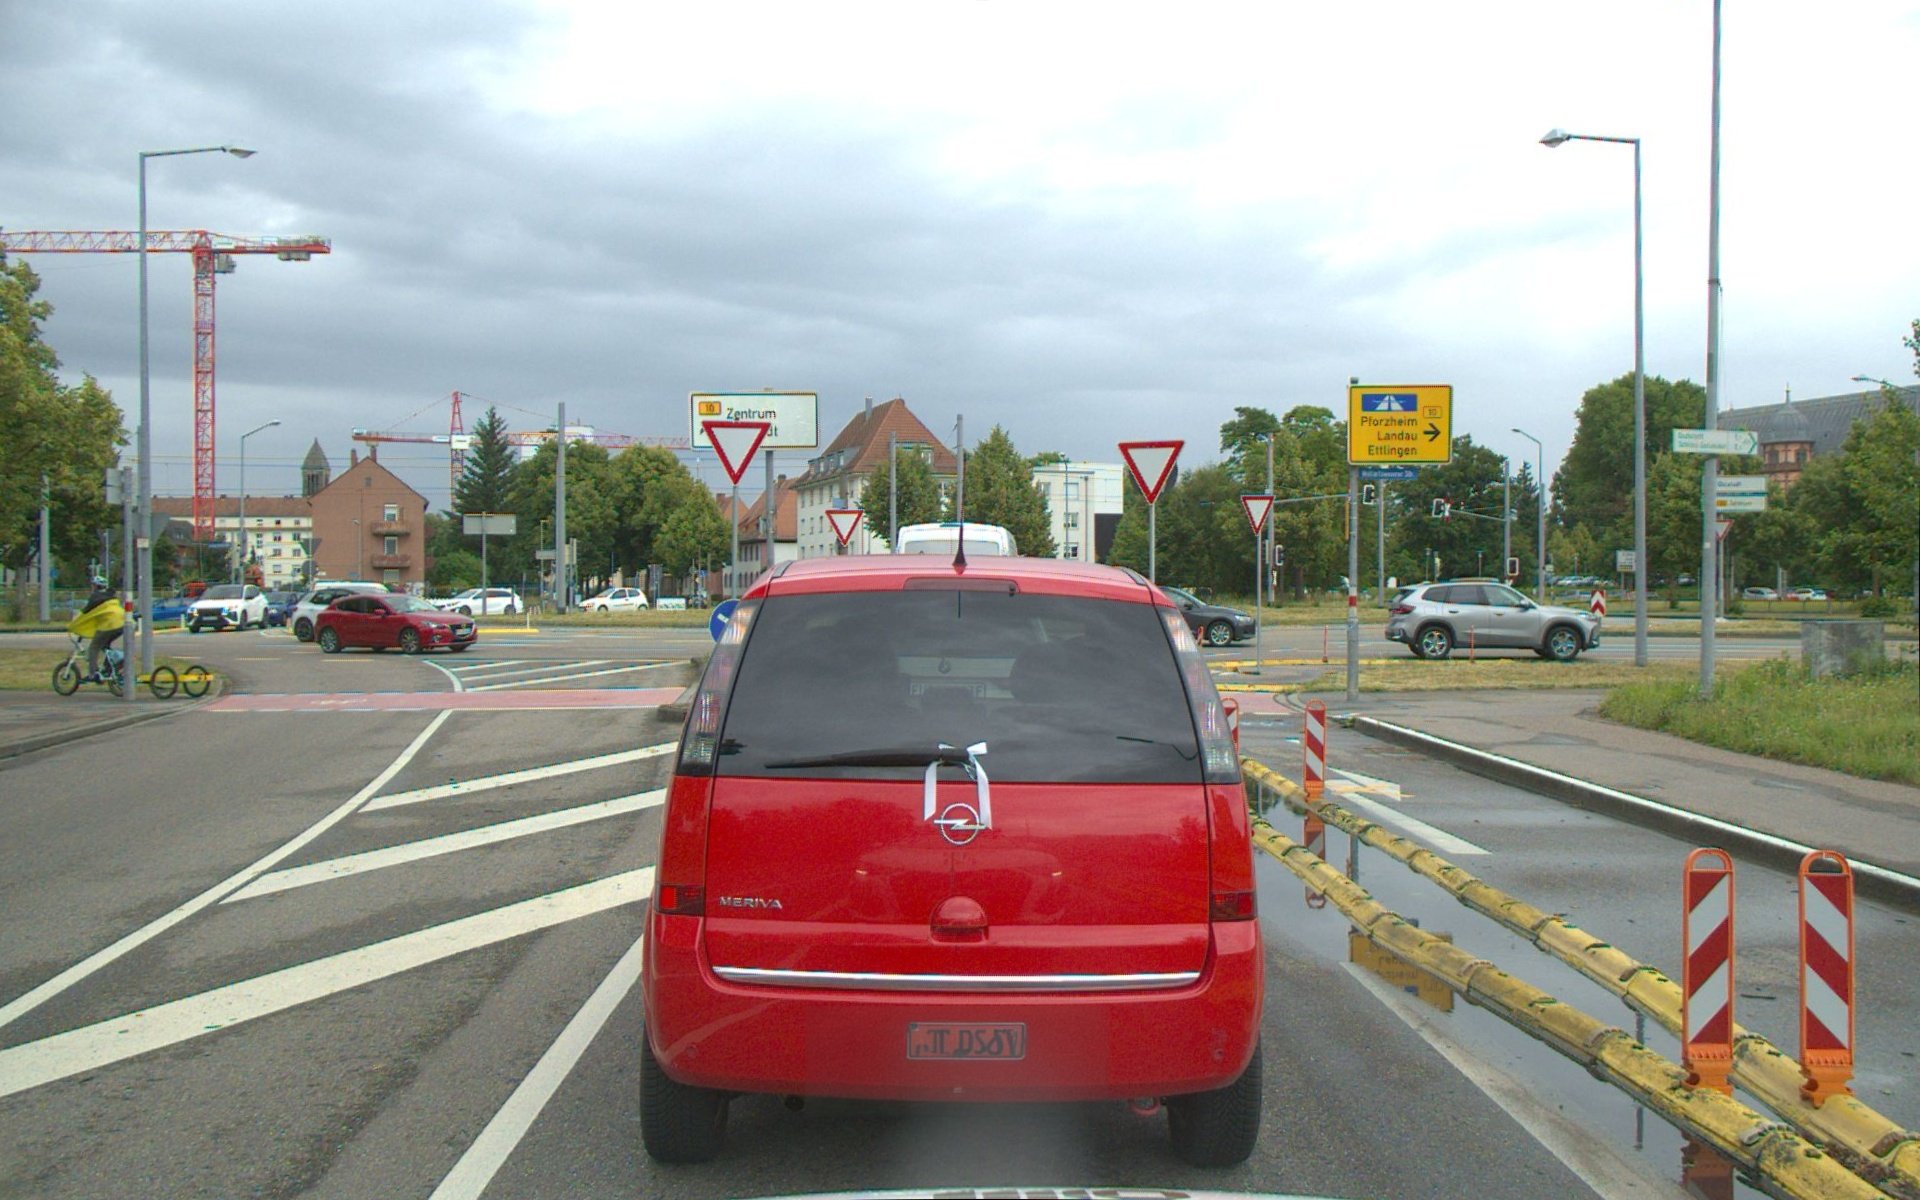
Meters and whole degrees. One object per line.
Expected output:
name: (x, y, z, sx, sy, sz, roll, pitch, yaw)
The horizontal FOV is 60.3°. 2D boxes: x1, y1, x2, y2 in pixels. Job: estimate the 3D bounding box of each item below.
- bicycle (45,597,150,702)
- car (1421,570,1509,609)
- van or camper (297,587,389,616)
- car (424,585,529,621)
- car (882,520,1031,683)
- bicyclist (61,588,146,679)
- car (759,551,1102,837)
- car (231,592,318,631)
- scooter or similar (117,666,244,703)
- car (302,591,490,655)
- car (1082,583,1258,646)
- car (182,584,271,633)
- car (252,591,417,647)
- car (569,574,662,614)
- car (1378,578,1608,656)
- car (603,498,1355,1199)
bicycle: (-13.689, 0.772, 26.268, 1.446, 1.640, 0.606, 0, 0, 16)
car: (27.042, -0.568, 88.725, 1.972, 2.049, 4.435, -1, 0, -29)
van or camper: (-44.669, 0.101, 119.714, 6.045, 2.049, 2.002, 0, 0, 10)
car: (-23.398, 0.131, 80.187, 1.962, 1.663, 4.654, 0, 0, 38)
car: (0.048, 0.010, 28.981, 2.149, 2.584, 4.965, 1, 0, 5)
bicyclist: (-13.589, 0.528, 26.242, 1.039, 1.426, 0.615, 0, 0, 16)
car: (-0.209, 0.543, 12.160, 2.018, 1.676, 4.606, 1, 0, -1)
car: (-27.803, 0.453, 67.231, 1.891, 1.515, 4.000, -1, 0, -1)
scooter or similar: (-12.169, 1.317, 25.835, 1.573, 0.513, 0.925, 0, 0, 15)
car: (-13.913, 0.545, 40.767, 4.259, 1.489, 1.998, 0, 0, 27)
car: (5.198, 0.342, 41.119, 4.216, 1.489, 2.002, 0, 0, 7)
car: (-26.828, 0.278, 60.625, 1.895, 1.713, 4.181, -1, 0, -9)
car: (-17.769, 0.527, 47.062, 3.902, 1.534, 2.002, 0, 0, 7)
car: (-18.104, -0.353, 87.094, 4.440, 2.049, 1.970, -1, 0, -41)
car: (11.408, 0.361, 35.691, 4.421, 1.611, 2.002, 0, 0, 7)
car: (0.017, 0.609, 5.463, 1.639, 1.669, 3.626, 1, 0, -1)
